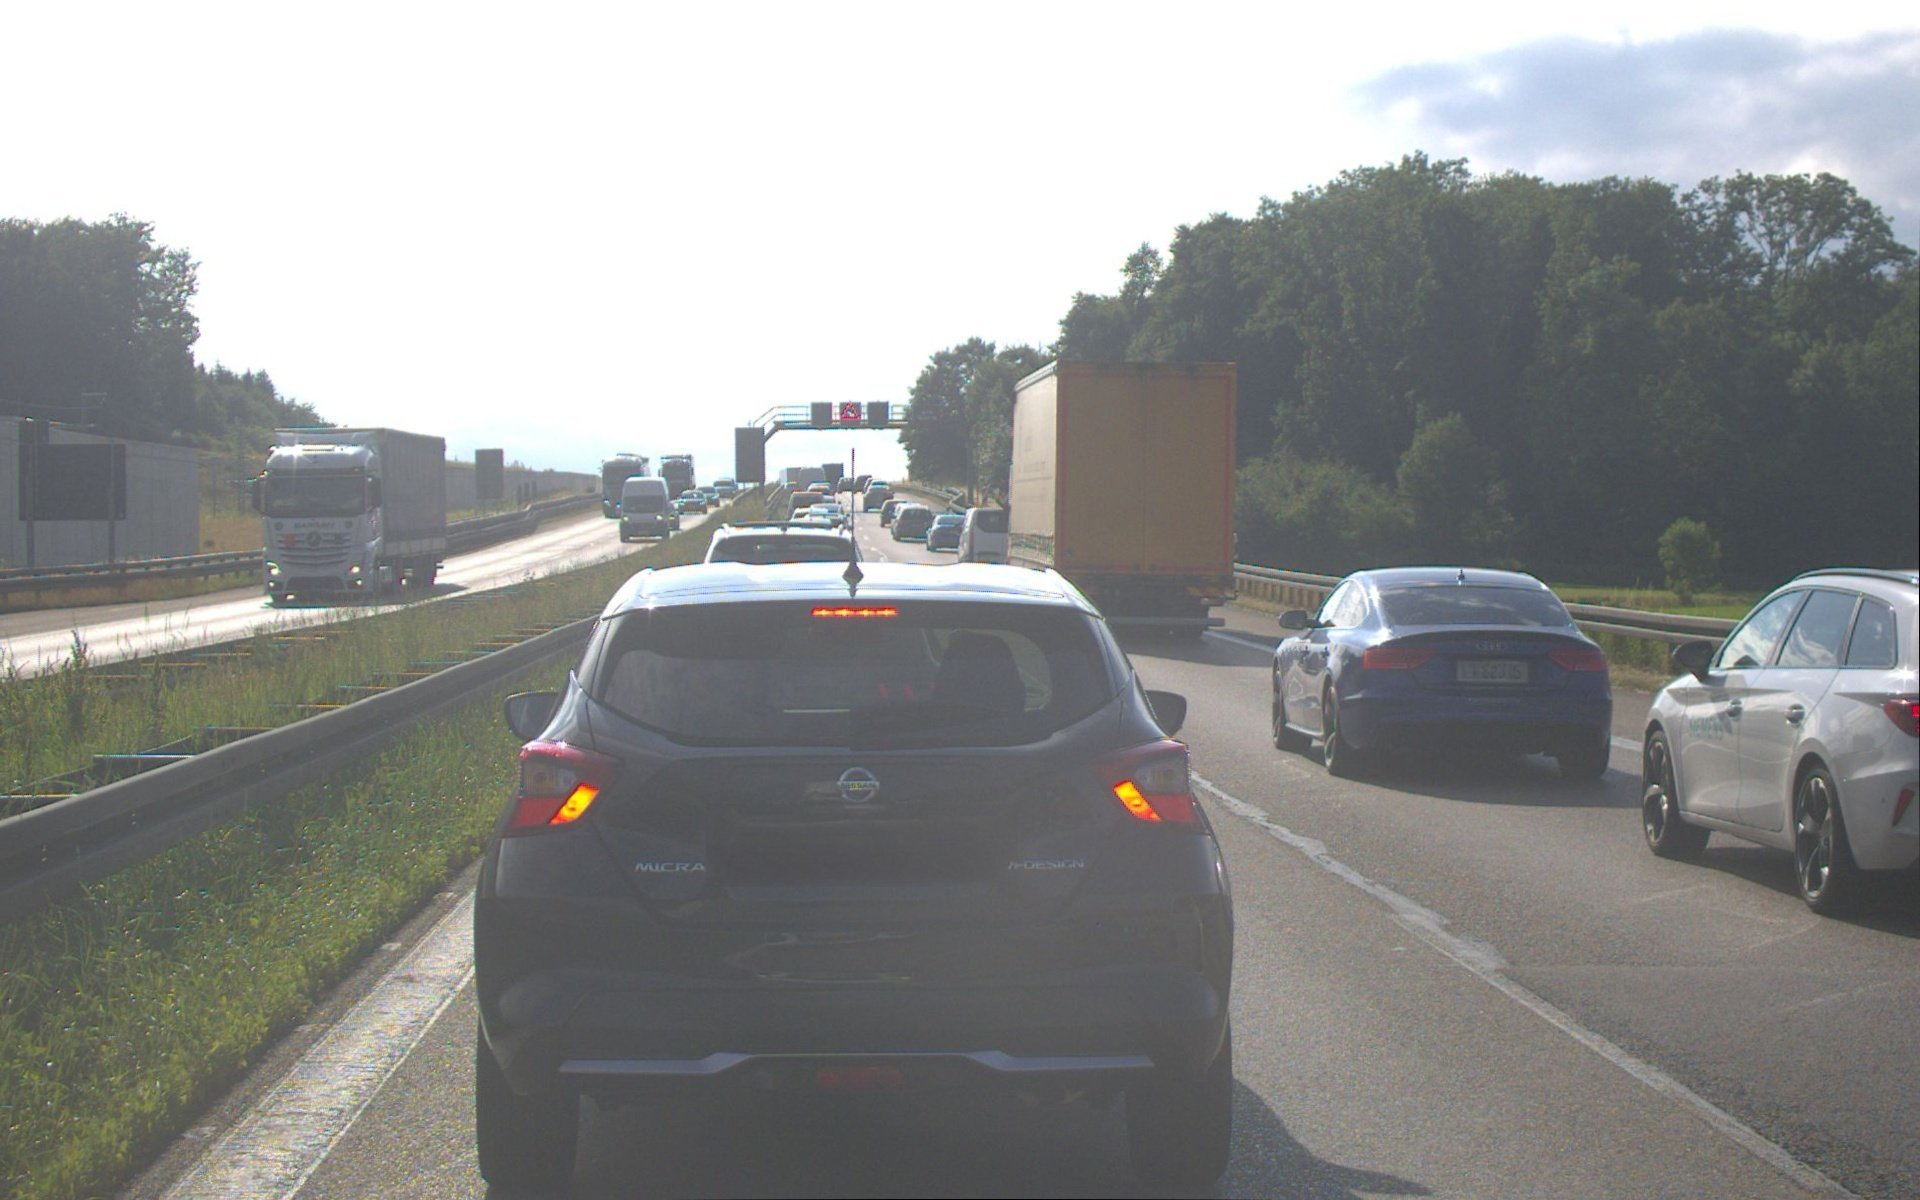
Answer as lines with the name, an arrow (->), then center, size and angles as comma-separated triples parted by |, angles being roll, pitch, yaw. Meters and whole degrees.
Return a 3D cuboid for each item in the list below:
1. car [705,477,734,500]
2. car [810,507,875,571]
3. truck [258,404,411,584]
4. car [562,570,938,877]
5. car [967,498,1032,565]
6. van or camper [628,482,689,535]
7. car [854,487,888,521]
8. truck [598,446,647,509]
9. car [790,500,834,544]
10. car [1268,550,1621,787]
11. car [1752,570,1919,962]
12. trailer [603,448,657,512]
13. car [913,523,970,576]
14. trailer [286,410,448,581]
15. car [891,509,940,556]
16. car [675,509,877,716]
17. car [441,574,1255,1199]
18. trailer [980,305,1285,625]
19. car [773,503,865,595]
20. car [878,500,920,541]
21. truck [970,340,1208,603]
car -> -17.243, -8.002, 246.653 | 1.803, 1.511, 4.691 | 1, 1, -1
car -> -3.813, -1.959, 111.001 | 1.993, 2.007, 4.001 | 1, 1, -3
truck -> -14.851, -2.453, 82.103 | 2.637, 4.084, 7.003 | 1, 1, -3
car -> -0.981, 0.542, 17.265 | 1.674, 1.362, 3.596 | 1, 0, -1
car -> 1.052, -1.837, 93.192 | 1.667, 1.748, 3.327 | 1, 1, -1
van or camper -> -13.334, -4.036, 152.409 | 2.166, 2.198, 6.259 | 1, 1, -1
car -> -5.544, -5.956, 213.323 | 1.993, 2.007, 4.001 | 1, 1, -3
truck -> -21.005, -7.603, 214.101 | 2.552, 3.785, 5.418 | -1, 1, -2
car -> -6.997, -3.677, 162.349 | 1.993, 2.007, 4.001 | 1, 1, -3
car -> 3.231, 0.414, 23.669 | 1.747, 1.470, 4.147 | 1, 0, -1
car -> 4.351, 0.620, 12.751 | 1.620, 1.440, 4.147 | 1, 0, -4
trailer -> -21.132, -7.655, 220.680 | 2.540, 3.758, 12.542 | -1, 1, -1
car -> -0.728, -1.939, 132.948 | 1.993, 2.007, 4.001 | 1, 1, -3
trailer -> -15.142, -2.569, 88.657 | 2.653, 4.067, 12.399 | 1, 1, -3
car -> -1.973, -2.934, 151.190 | 1.993, 2.007, 4.001 | 1, 1, -3
car -> -1.592, 0.092, 30.734 | 1.674, 1.720, 3.596 | 1, 0, -1
car -> -0.257, 0.655, 8.979 | 1.710, 1.421, 3.378 | 1, 0, -1
trailer -> 2.459, -1.957, 54.597 | 3.548, 4.442, 12.723 | 1, 1, -3
car -> -3.217, -1.150, 77.681 | 1.993, 2.007, 4.001 | 1, 1, -3
car -> -3.154, -4.065, 176.290 | 1.993, 2.007, 4.001 | 1, 1, -3
truck -> 2.179, -2.193, 61.190 | 3.581, 4.364, 6.689 | 1, 1, -3
